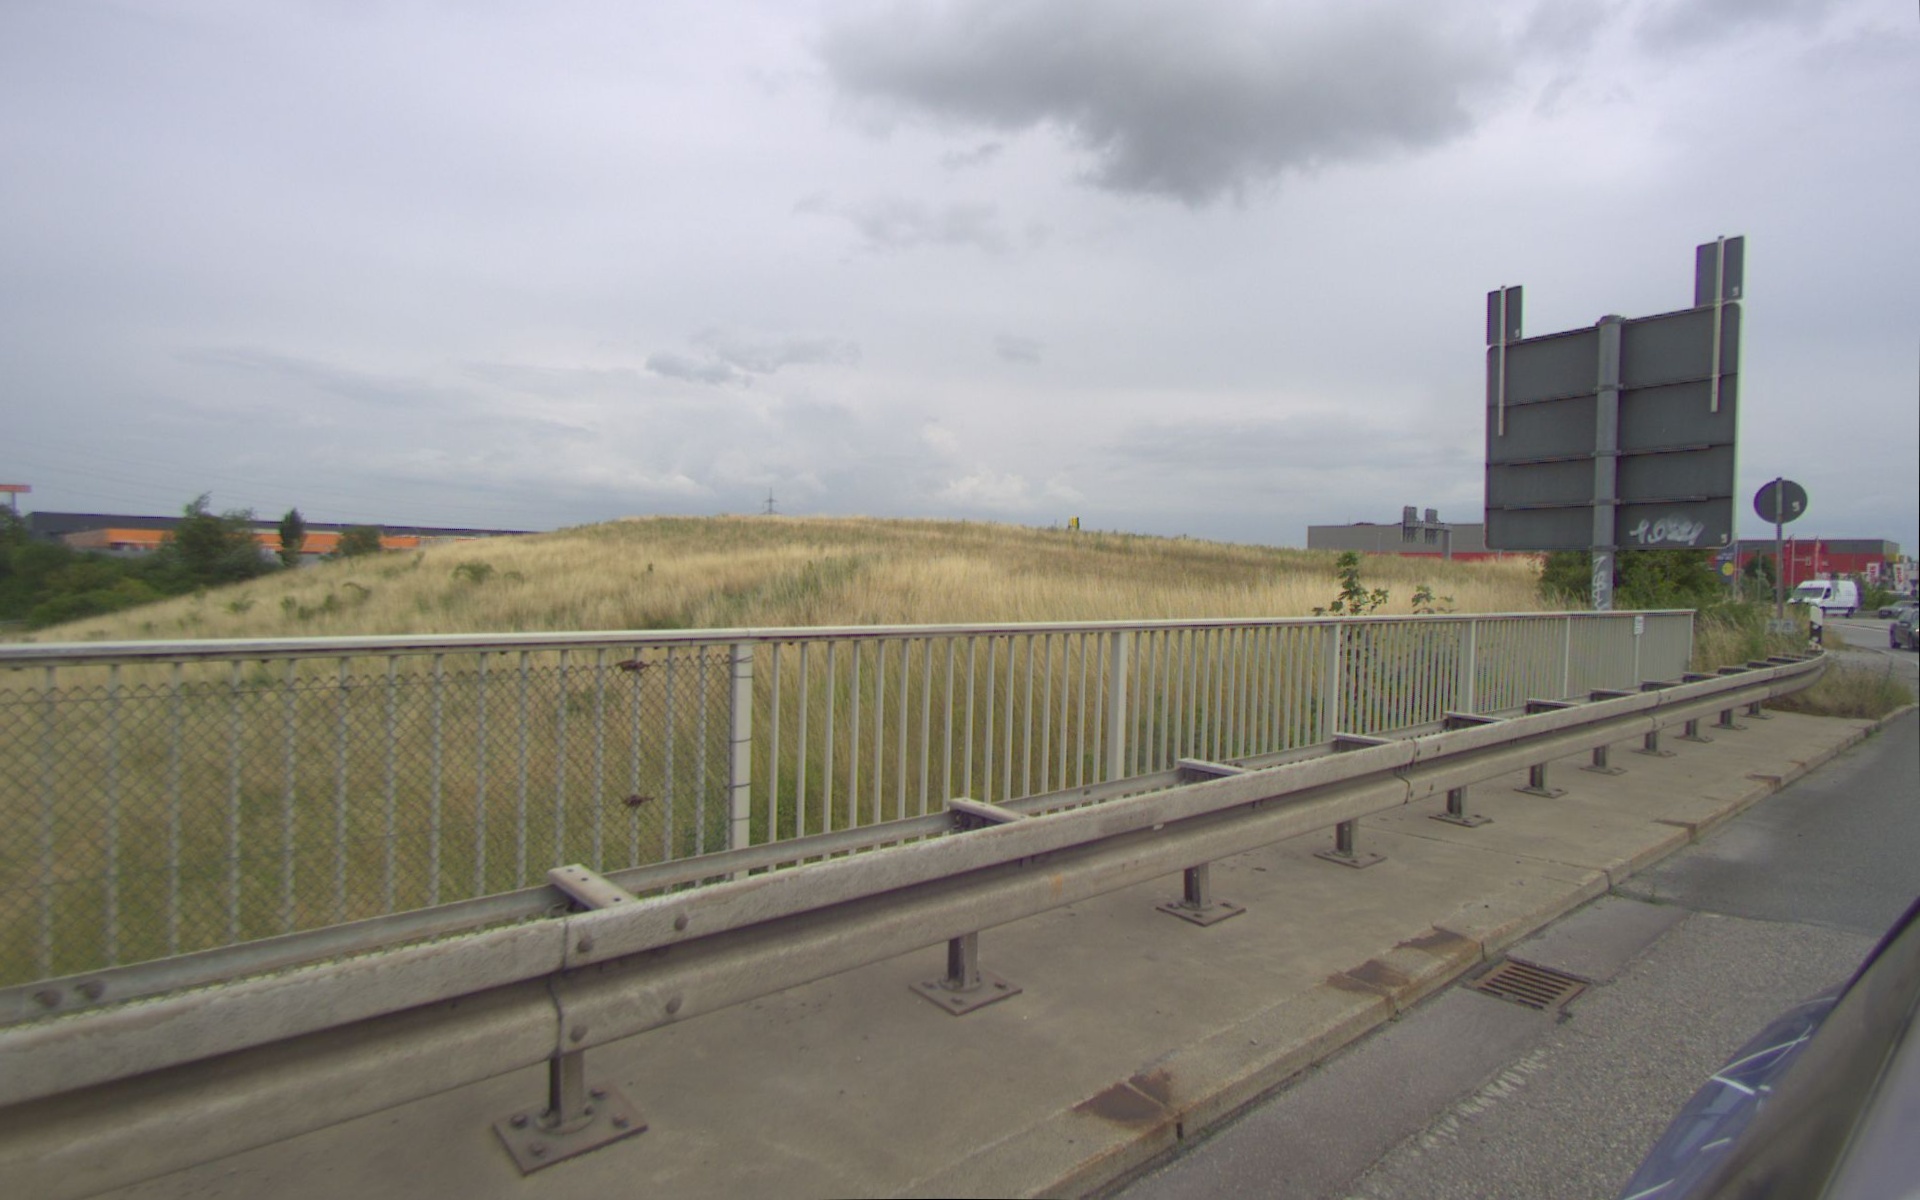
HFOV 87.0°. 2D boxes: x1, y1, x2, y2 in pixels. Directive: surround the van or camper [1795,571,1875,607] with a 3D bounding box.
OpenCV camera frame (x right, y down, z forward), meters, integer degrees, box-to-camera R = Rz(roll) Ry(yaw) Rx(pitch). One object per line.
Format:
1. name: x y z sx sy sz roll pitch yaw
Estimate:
1. van or camper: 60.539 -0.764 70.019 5.426 2.393 2.057 0 1 -23
